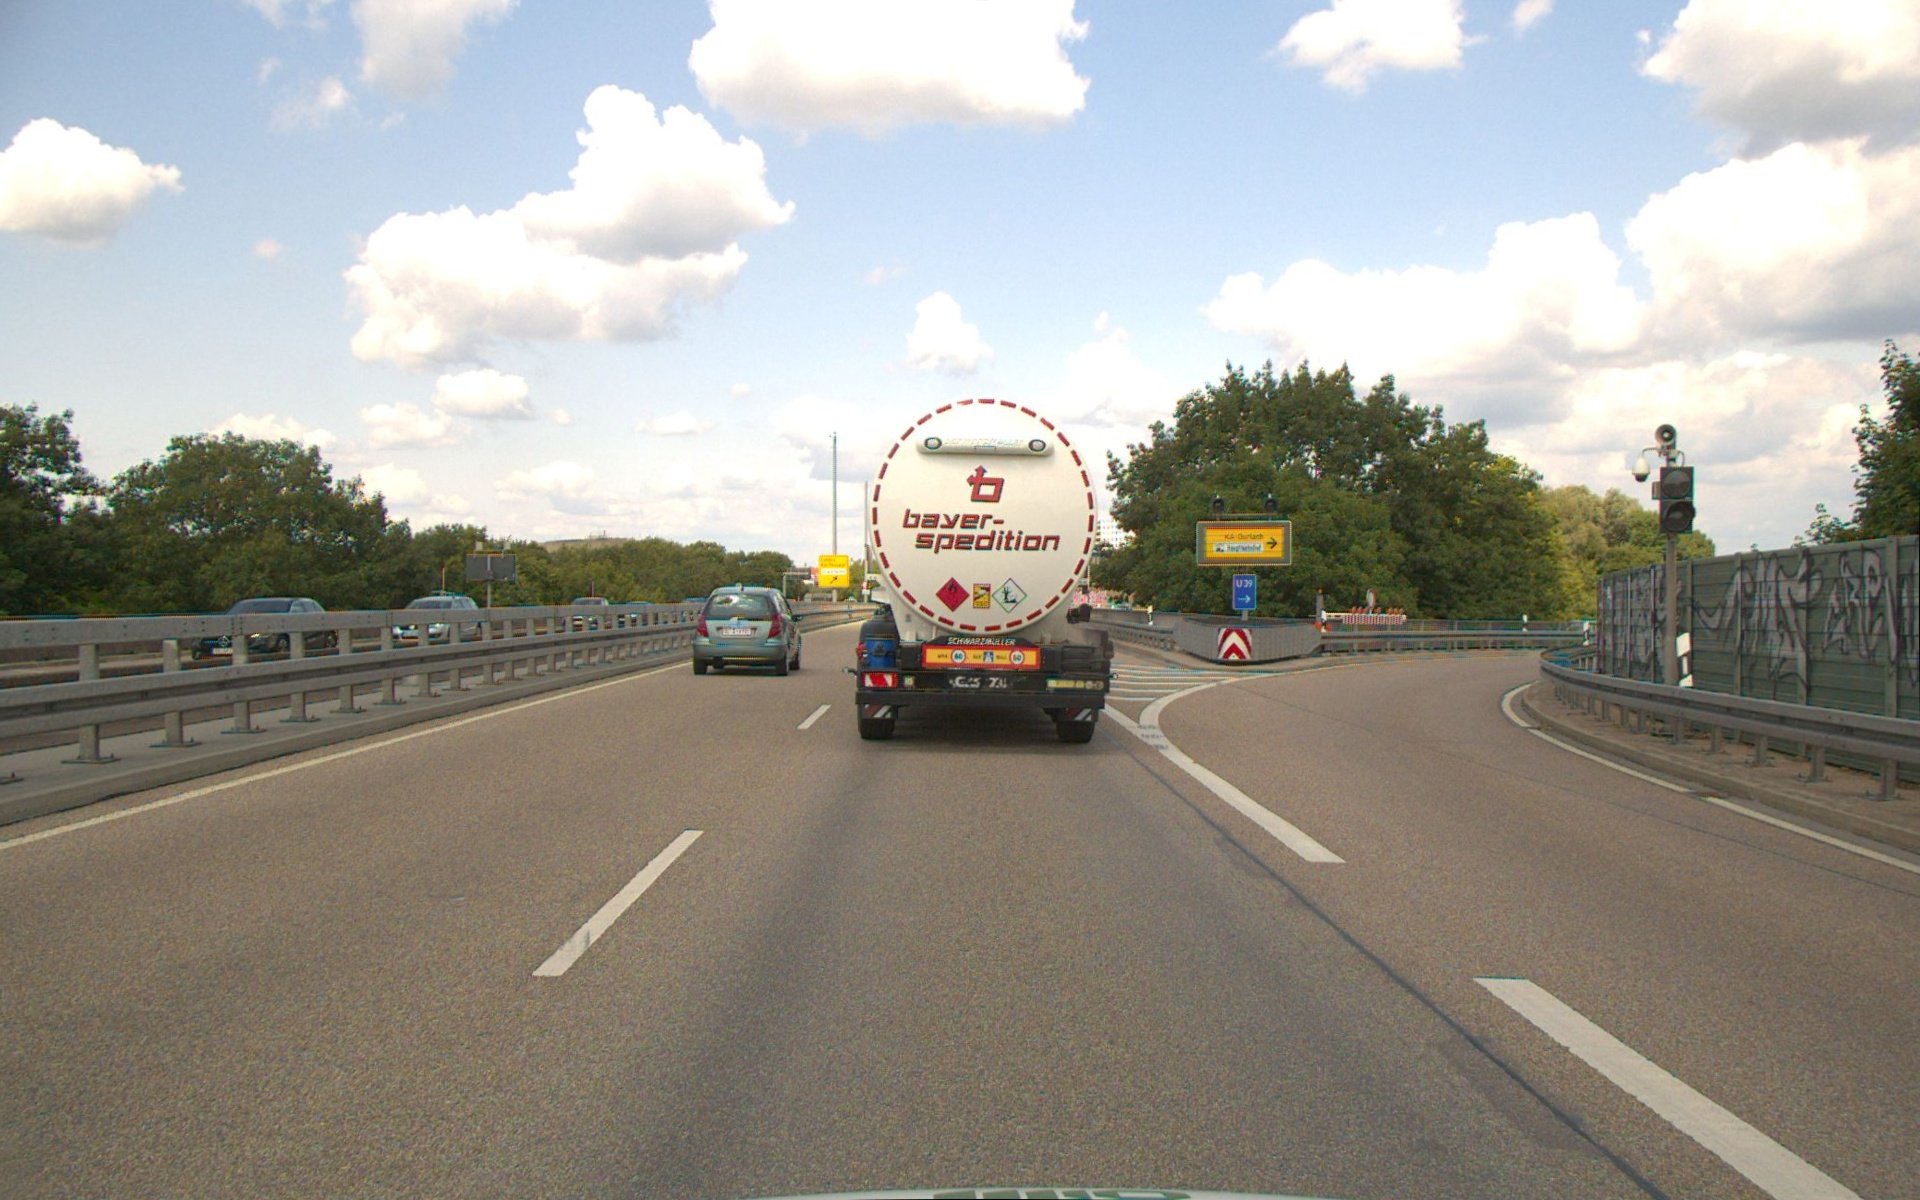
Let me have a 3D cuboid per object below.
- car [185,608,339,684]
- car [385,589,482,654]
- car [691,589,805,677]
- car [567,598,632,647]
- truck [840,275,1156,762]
[{"bbox_3d":[-15.040,0.952,35.863,1.748,1.413,4.045,1,1,-3],"label":"car"},{"bbox_3d":[-15.292,0.585,48.251,1.550,1.740,4.409,1,1,-3],"label":"car"},{"bbox_3d":[-3.959,0.569,31.487,1.712,1.558,3.999,0,0,-1],"label":"car"},{"bbox_3d":[-15.707,0.970,72.221,1.953,2.049,3.999,1,0,-1],"label":"car"},{"bbox_3d":[0.270,-0.750,19.383,2.837,4.445,8.027,1,0,-1],"label":"truck"}]
